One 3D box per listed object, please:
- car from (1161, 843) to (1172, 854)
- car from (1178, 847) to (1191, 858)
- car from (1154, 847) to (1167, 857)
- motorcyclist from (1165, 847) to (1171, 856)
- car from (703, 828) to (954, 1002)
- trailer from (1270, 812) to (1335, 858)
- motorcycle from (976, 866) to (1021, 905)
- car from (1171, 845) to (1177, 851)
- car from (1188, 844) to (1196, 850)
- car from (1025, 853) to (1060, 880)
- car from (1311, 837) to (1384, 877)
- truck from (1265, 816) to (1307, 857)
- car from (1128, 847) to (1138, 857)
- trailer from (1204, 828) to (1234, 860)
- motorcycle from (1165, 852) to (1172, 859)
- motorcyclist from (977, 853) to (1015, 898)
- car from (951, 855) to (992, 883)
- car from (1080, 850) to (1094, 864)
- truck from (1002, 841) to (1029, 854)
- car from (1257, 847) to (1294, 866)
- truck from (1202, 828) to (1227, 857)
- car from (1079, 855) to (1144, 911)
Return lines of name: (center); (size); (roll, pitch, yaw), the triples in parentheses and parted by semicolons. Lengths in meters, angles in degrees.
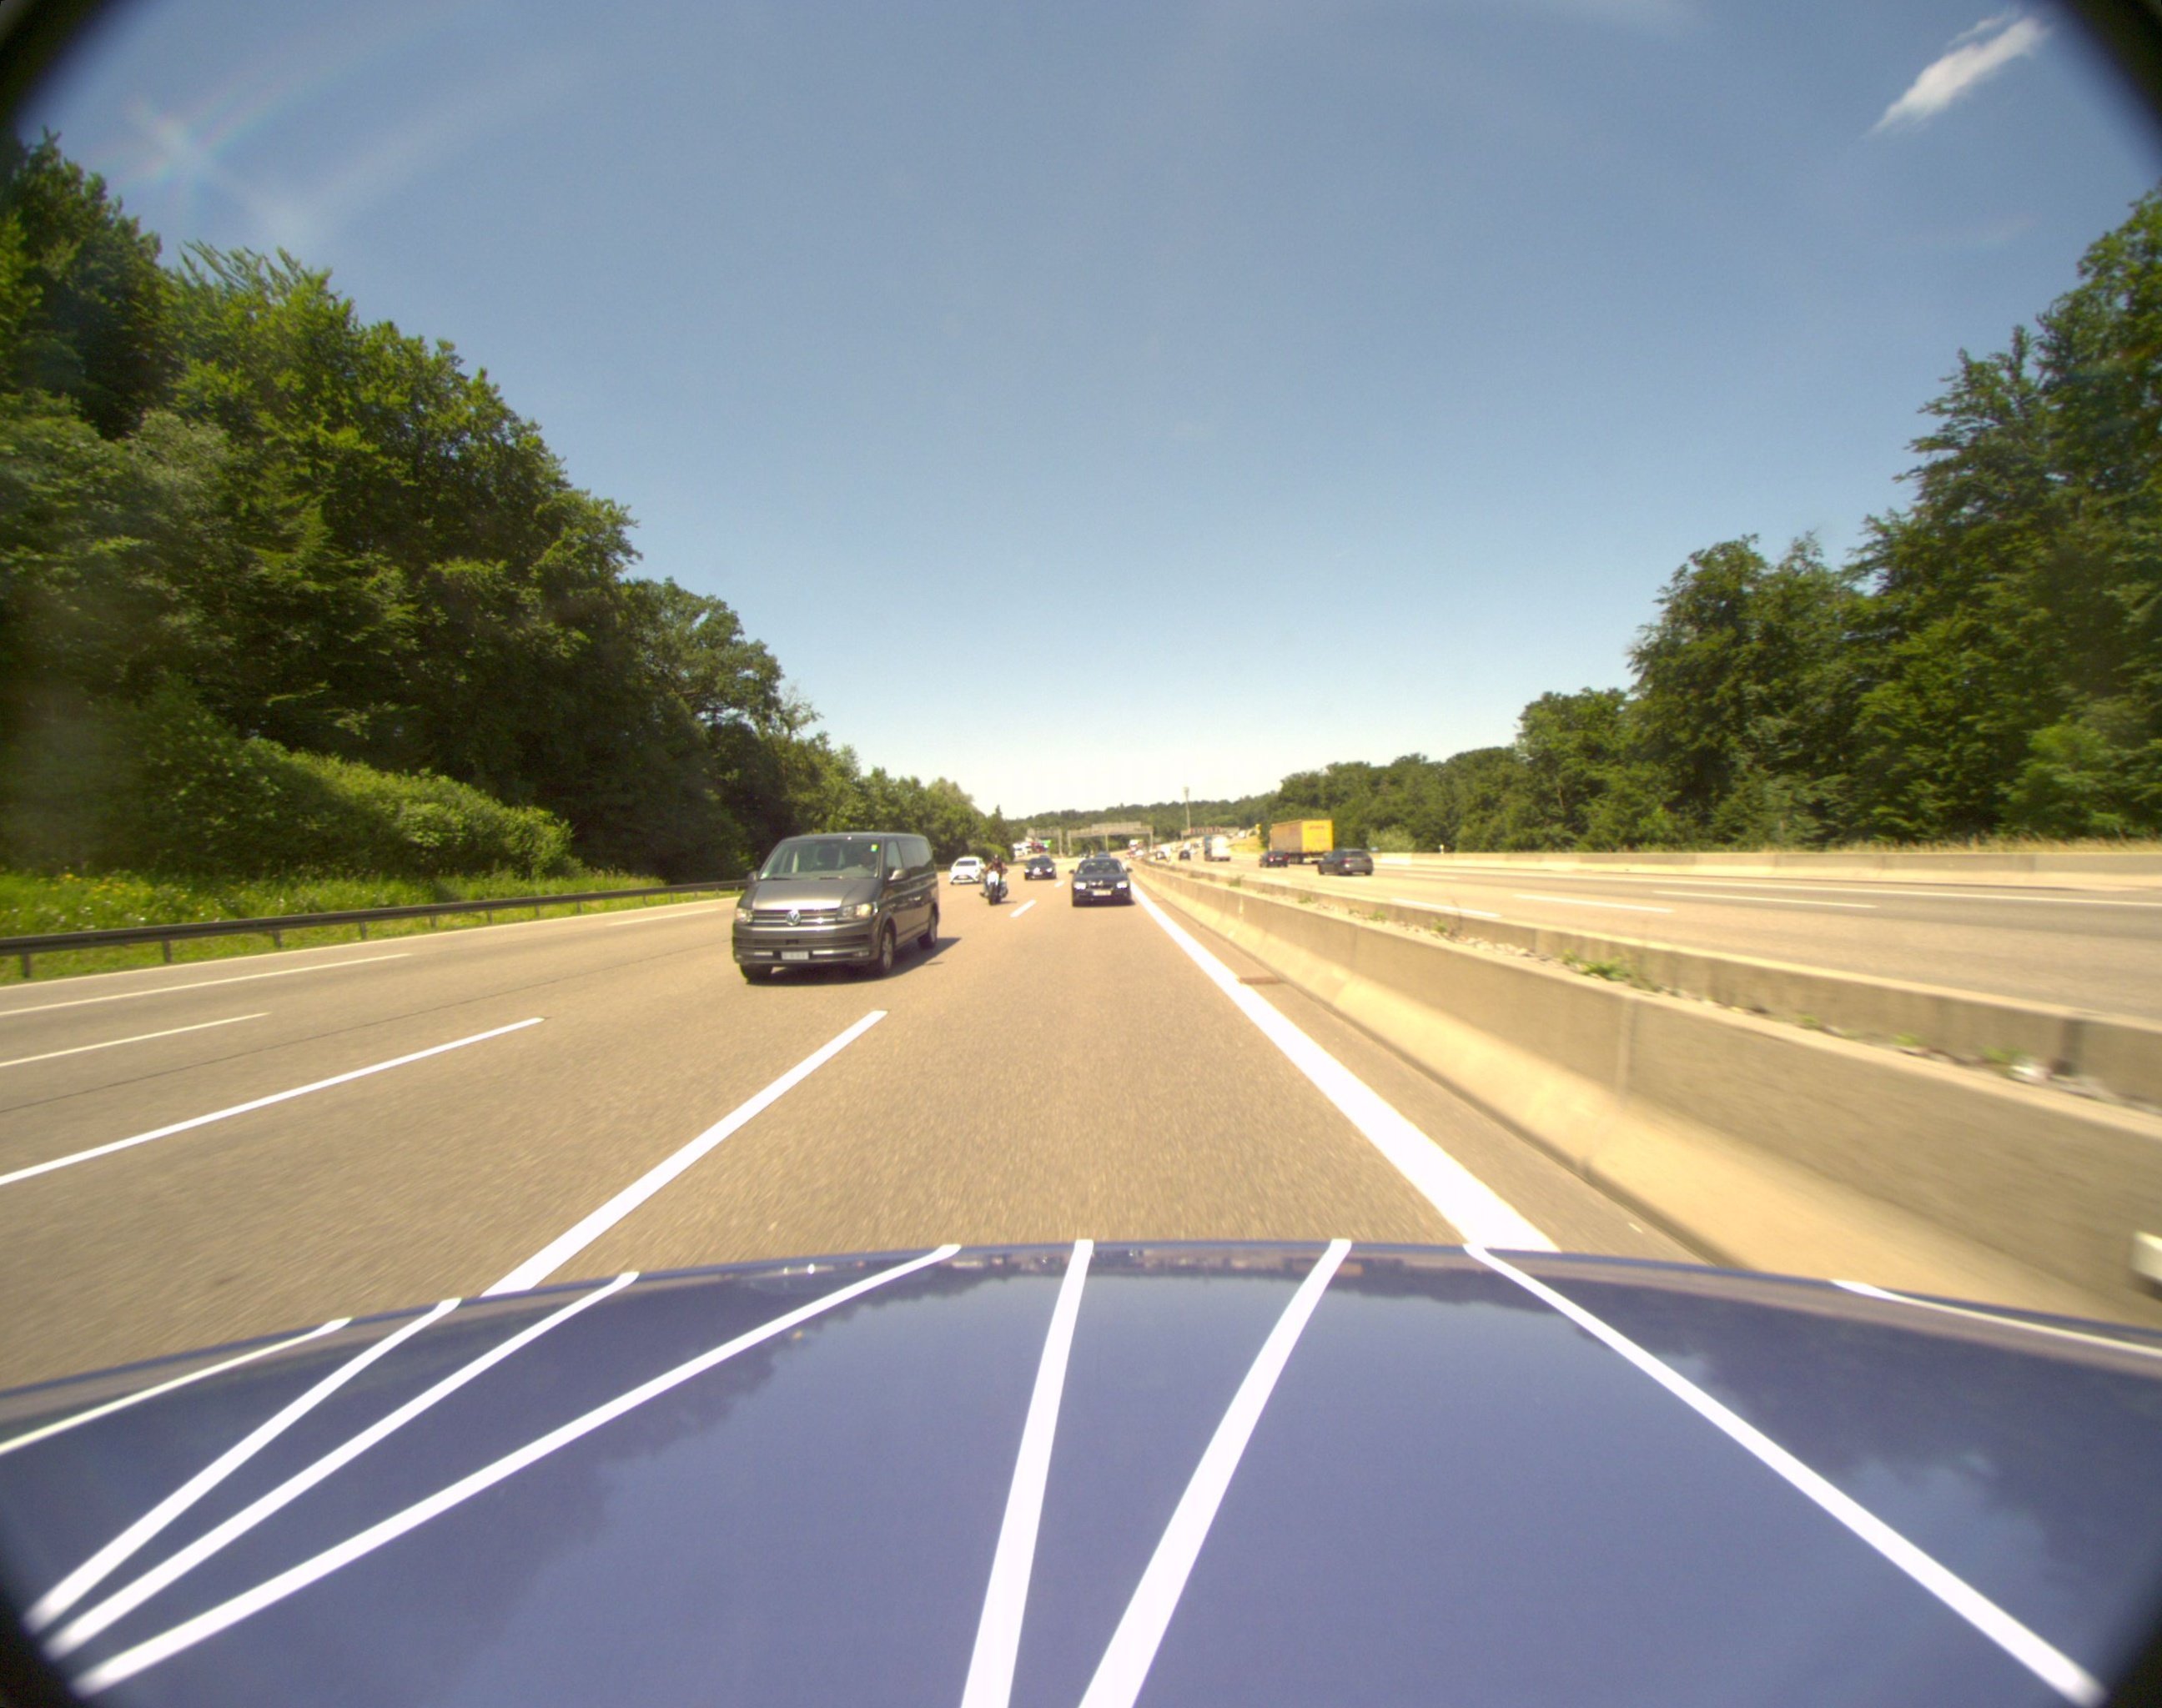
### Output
car: (20.782, -1.278, 184.427); (2.102, 2.673, 6.310); (-3, 0, 2)
car: (16.683, -0.253, 122.439); (1.724, 1.634, 4.060); (-2, 0, 4)
car: (13.603, -0.398, 130.080); (1.998, 1.695, 4.954); (-2, 0, 4)
motorcyclist: (12.202, -0.357, 106.074); (0.729, 1.353, 0.905); (-2, 1, 3)
car: (-3.434, 0.713, 11.593); (1.967, 2.022, 5.083); (-2, 0, 1)
trailer: (20.972, -1.701, 73.021); (2.729, 3.981, 13.726); (-2, 0, 2)
motorcycle: (-2.680, 1.016, 25.050); (0.536, 1.129, 2.439); (-1, 1, 17)
car: (31.443, -1.979, 256.150); (1.823, 1.860, 4.589); (-1, 1, 4)
car: (31.301, -1.959, 214.640); (1.767, 1.474, 4.495); (-3, 1, 5)
car: (-2.414, 0.772, 48.198); (1.760, 1.431, 3.999); (-2, 2, 3)
car: (14.205, 0.088, 40.872); (1.998, 1.861, 5.250); (-3, 1, 0)
truck: (21.256, -1.756, 79.257); (2.757, 3.994, 6.752); (-2, 0, 2)
car: (11.355, -0.437, 166.899); (1.998, 2.002, 4.000); (-3, 0, 3)
trailer: (18.818, -1.480, 104.246); (2.544, 3.859, 11.693); (-3, 2, 3)
motorcycle: (12.204, 0.207, 106.107); (0.729, 1.008, 2.527); (-2, 0, 3)
motorcyclist: (-2.775, 0.694, 24.884); (0.854, 1.419, 1.024); (-1, 2, 16)
car: (-6.354, 0.841, 44.581); (1.754, 1.510, 4.483); (-2, 0, 0)
car: (0.834, 0.368, 105.786); (1.729, 1.522, 3.739); (8, 4, 2)
truck: (-22.391, -2.166, 259.300); (2.836, 4.436, 12.028); (-5, 3, -38)
car: (15.956, 0.159, 62.544); (1.998, 1.474, 4.581); (-2, 0, 3)
truck: (19.074, -1.669, 108.777); (2.537, 3.918, 6.800); (-3, 2, 3)
car: (0.950, 0.819, 23.512); (1.769, 1.496, 4.000); (-3, 0, 2)
